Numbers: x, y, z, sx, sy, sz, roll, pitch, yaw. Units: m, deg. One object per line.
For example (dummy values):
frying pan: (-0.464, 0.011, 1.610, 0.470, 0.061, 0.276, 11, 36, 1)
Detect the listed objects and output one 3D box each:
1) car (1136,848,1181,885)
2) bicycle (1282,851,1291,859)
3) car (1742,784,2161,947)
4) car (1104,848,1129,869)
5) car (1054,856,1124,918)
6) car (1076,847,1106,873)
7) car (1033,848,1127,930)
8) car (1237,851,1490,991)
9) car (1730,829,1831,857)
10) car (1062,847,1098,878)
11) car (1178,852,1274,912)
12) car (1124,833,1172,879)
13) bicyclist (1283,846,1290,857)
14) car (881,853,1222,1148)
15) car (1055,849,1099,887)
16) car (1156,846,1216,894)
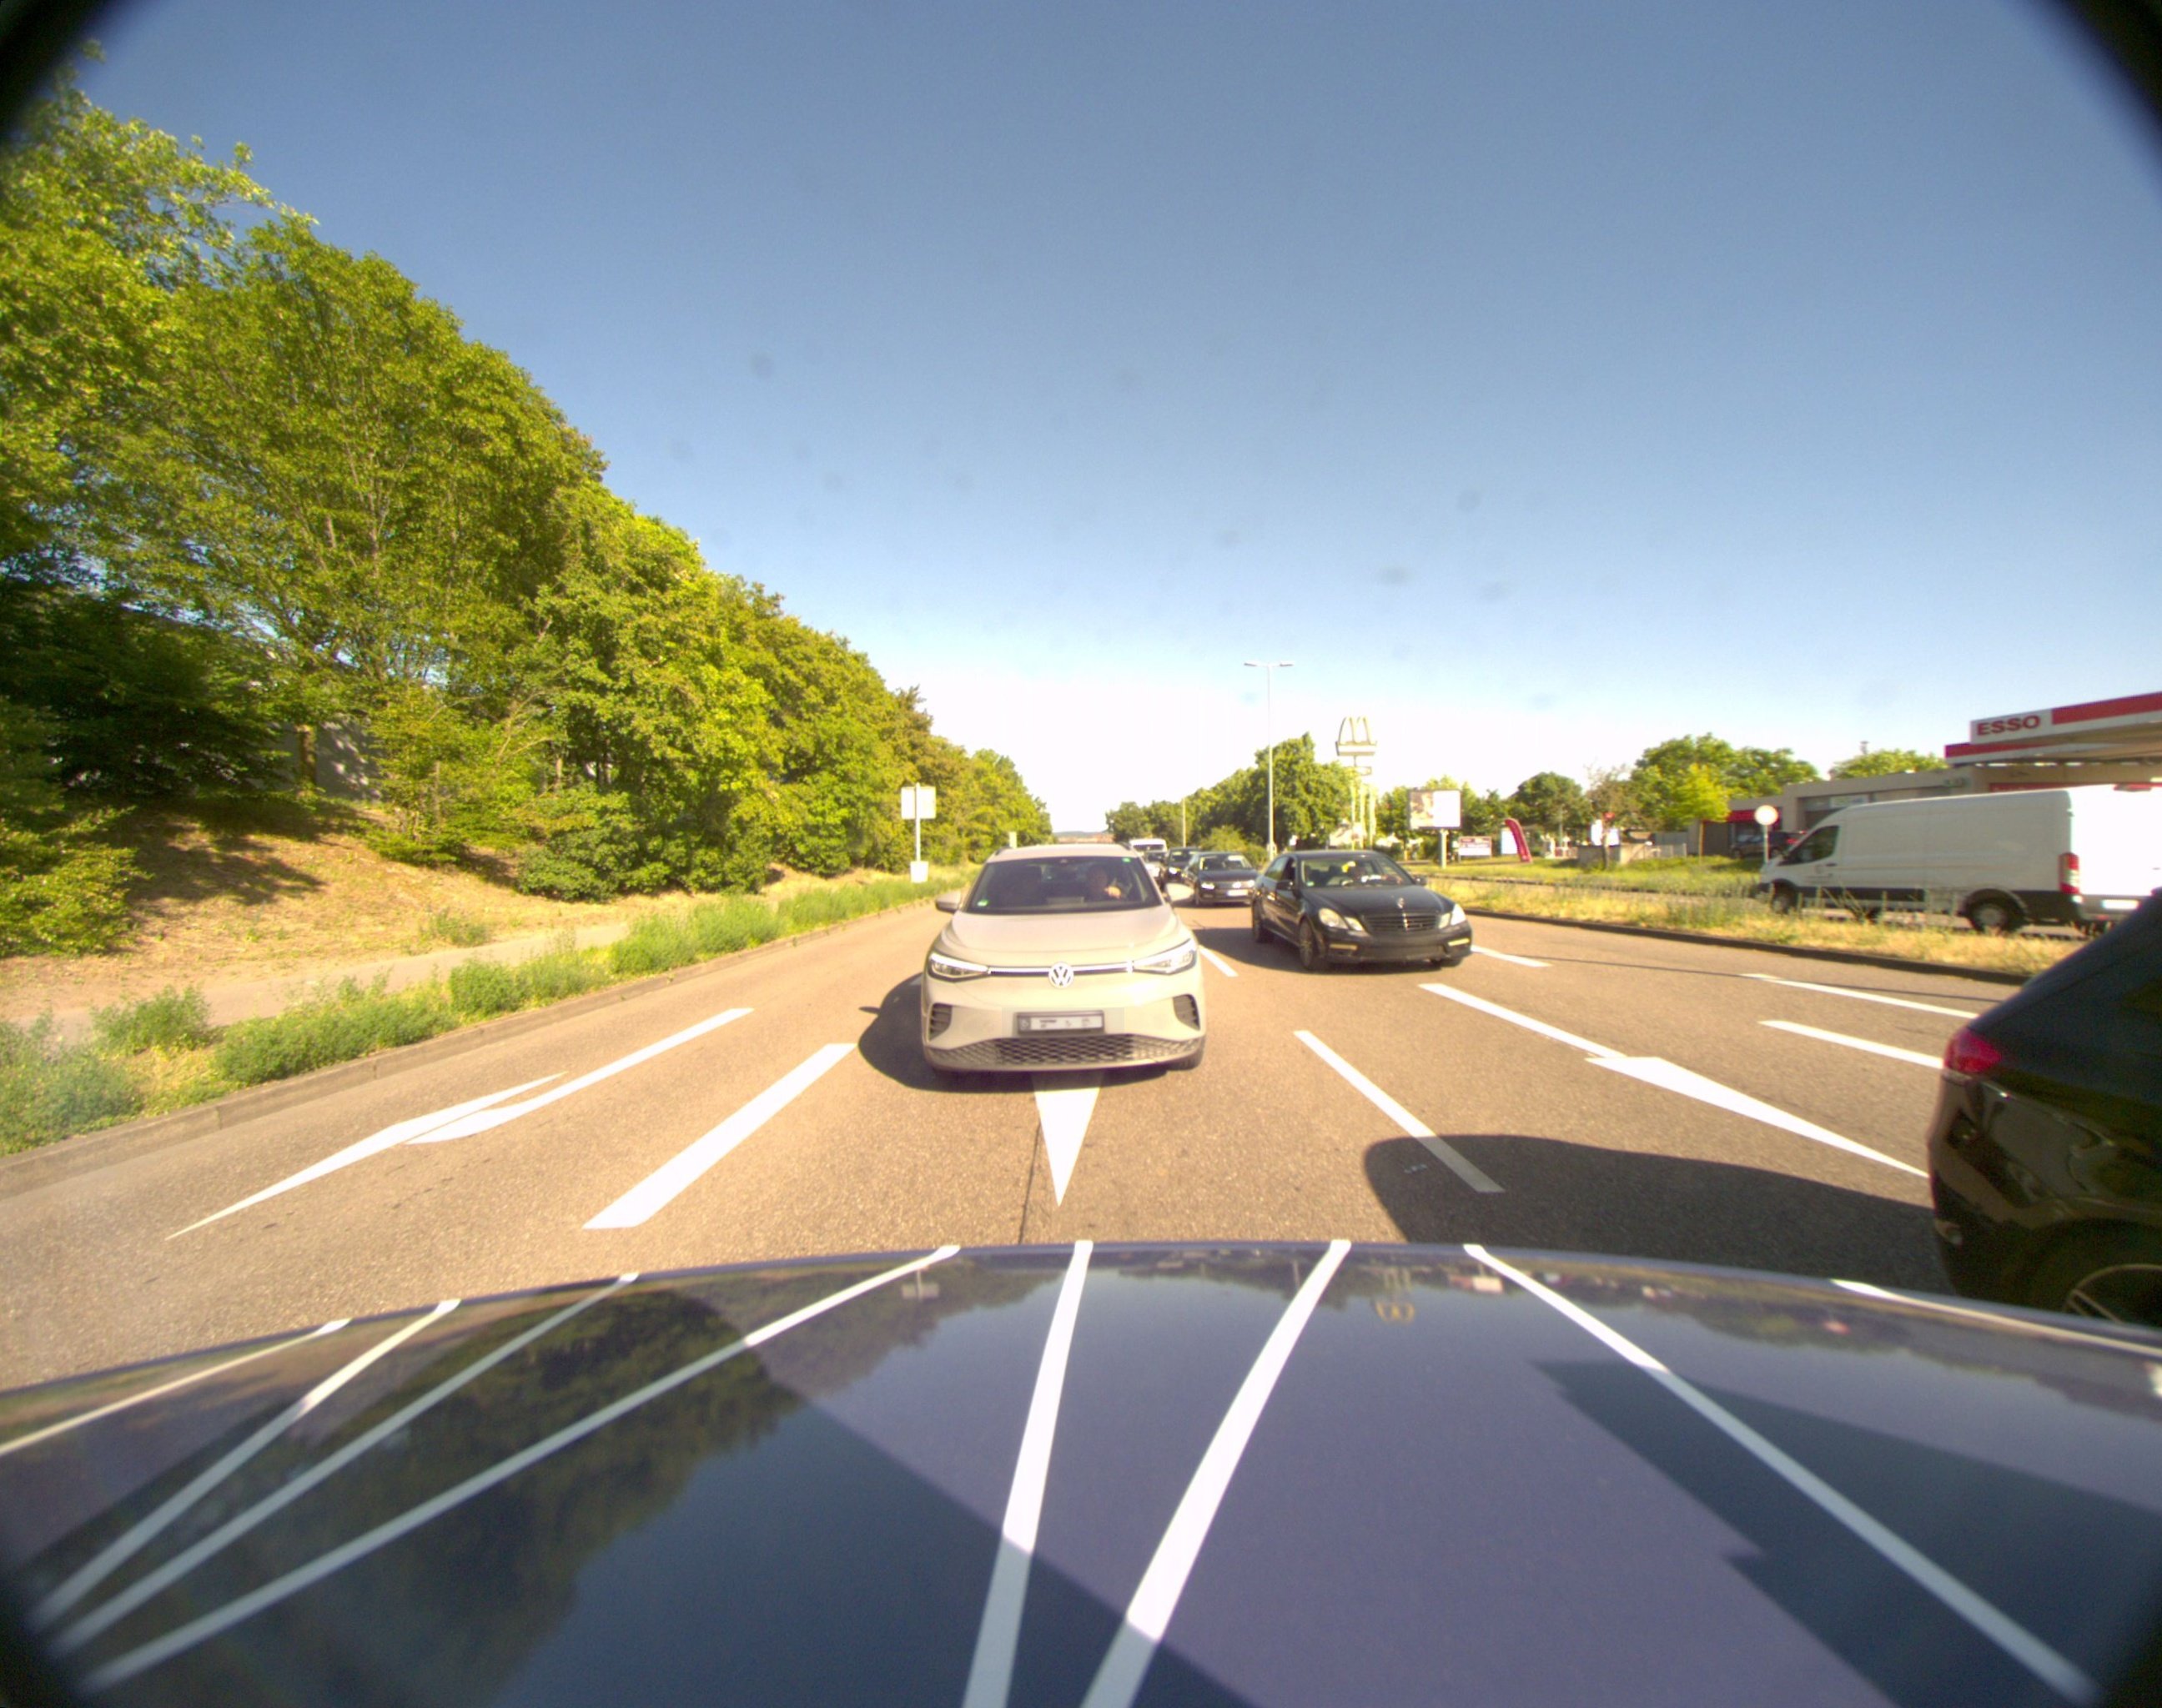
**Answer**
car: (3.566, 0.534, 35.427, 1.635, 1.547, 3.777, -2, 1, 0)
bicycle: (24.525, 0.106, 90.792, 0.629, 0.863, 1.741, -2, 1, 1)
car: (16.229, 0.148, 14.505, 2.027, 2.433, 5.820, 2, 1, 0)
car: (2.911, 0.368, 63.339, 1.763, 1.607, 4.402, -2, 1, 0)
car: (0.200, 0.878, 22.155, 1.763, 1.482, 4.402, -2, 1, 0)
car: (0.590, 0.348, 48.245, 1.763, 1.482, 4.402, -2, 1, 0)
car: (-0.032, 0.667, 16.986, 1.763, 1.482, 4.402, -2, 1, 0)
car: (3.601, 0.735, 10.662, 1.868, 1.430, 4.402, -2, 1, 0)
car: (37.579, -0.592, 40.959, 1.682, 1.401, 3.977, 1, 1, 0)
car: (-0.053, 0.419, 41.079, 1.763, 1.482, 4.402, -2, 1, 0)
car: (3.906, 0.700, 21.228, 1.797, 1.419, 4.286, -2, 1, 0)
car: (3.715, 0.071, 43.262, 2.019, 2.349, 6.523, -2, 1, 0)
bicyclist: (24.524, -0.281, 90.836, 0.629, 1.281, 0.700, -2, 2, 1)
car: (-0.173, 0.824, 6.493, 1.862, 1.574, 4.402, -2, 1, 0)
car: (-0.178, 0.553, 33.983, 1.763, 1.482, 4.402, -2, 1, 0)
car: (3.901, 0.545, 28.733, 1.674, 1.608, 3.878, -2, 1, 0)
